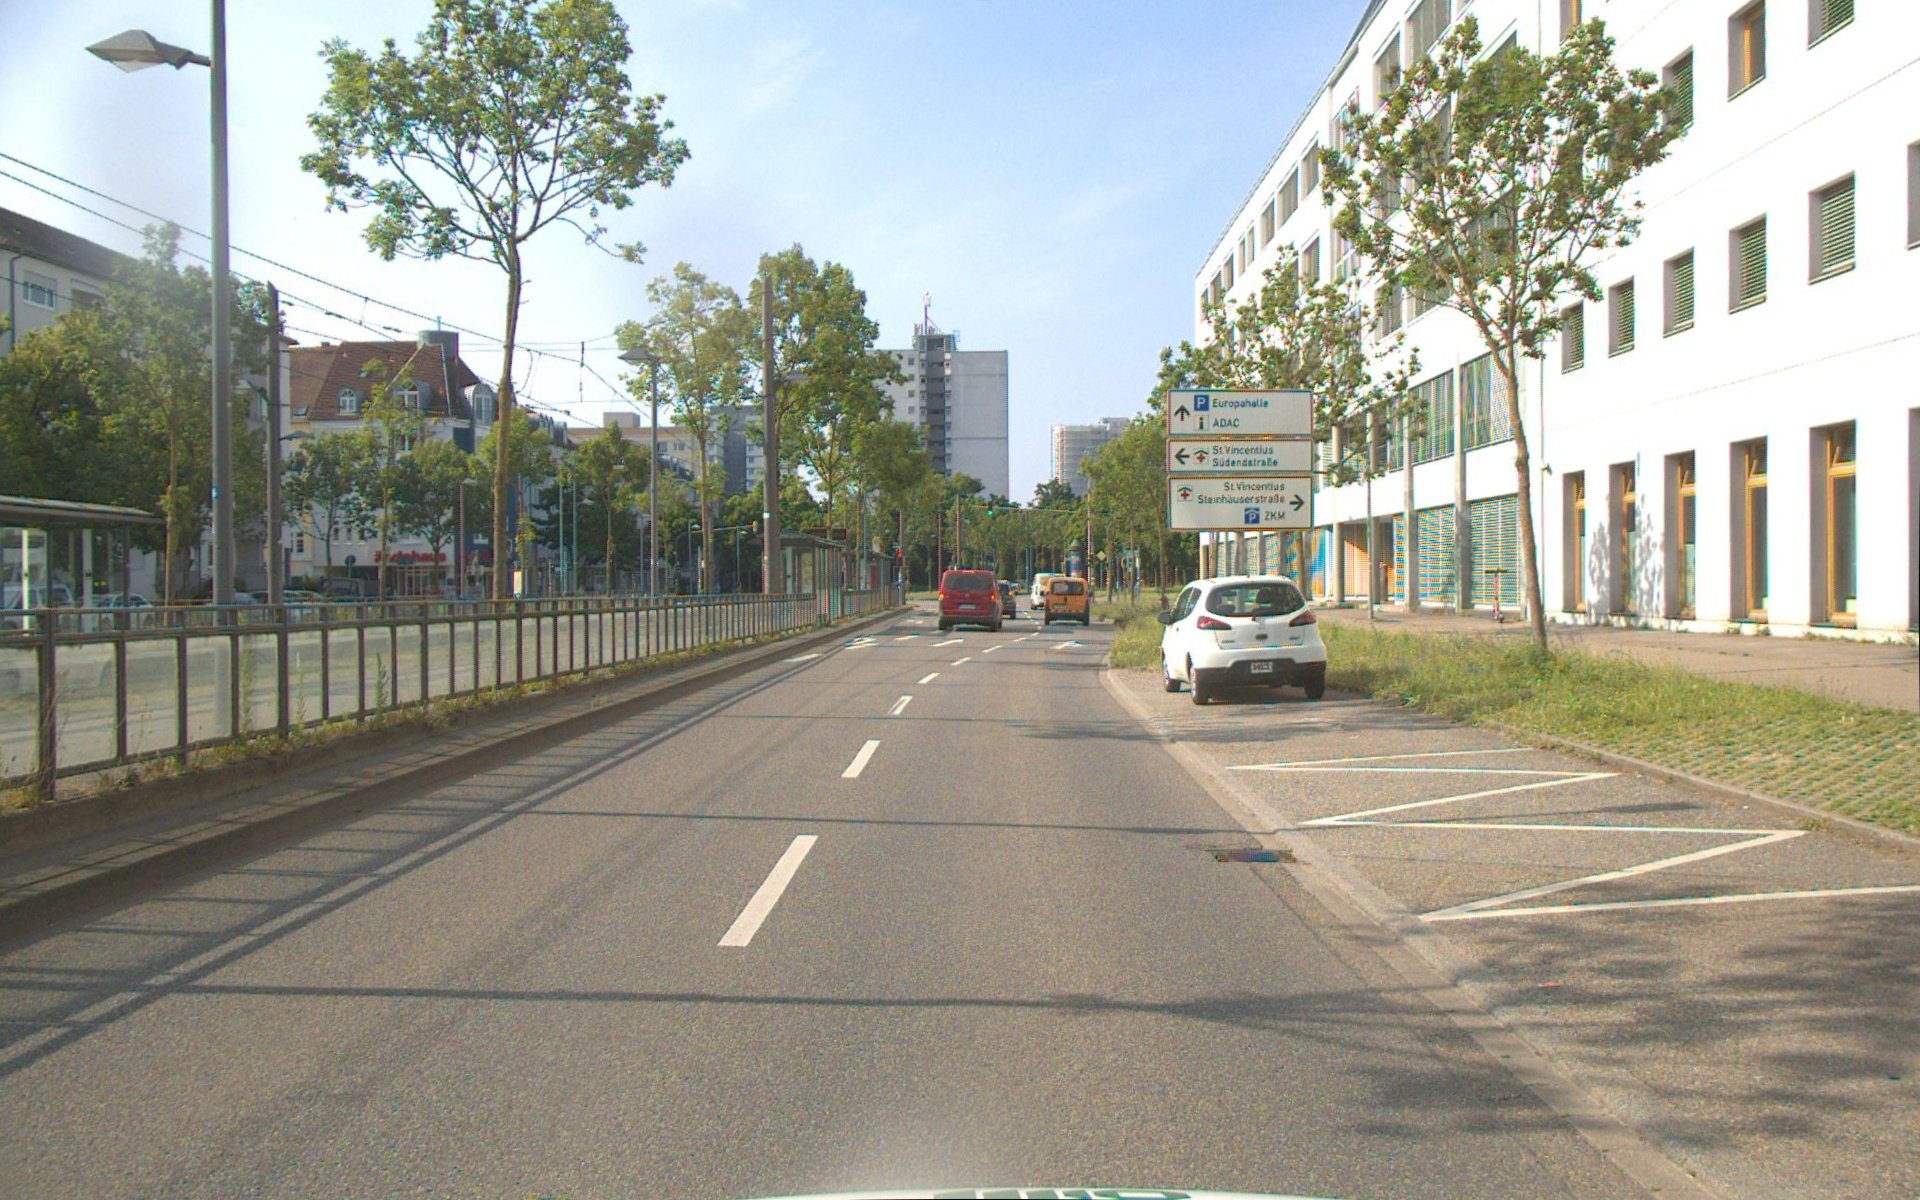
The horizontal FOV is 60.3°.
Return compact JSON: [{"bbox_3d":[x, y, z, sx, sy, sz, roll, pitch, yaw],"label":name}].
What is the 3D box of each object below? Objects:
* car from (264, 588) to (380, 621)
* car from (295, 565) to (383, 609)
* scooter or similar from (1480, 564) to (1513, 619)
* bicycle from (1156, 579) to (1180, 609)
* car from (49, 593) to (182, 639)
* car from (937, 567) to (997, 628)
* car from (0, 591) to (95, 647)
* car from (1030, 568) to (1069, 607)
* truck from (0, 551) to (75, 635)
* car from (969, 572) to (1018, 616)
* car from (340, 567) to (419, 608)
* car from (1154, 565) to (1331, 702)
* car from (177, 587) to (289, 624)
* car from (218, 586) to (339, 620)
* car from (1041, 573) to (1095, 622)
[{"bbox_3d":[-25.304,0.184,65.630,3.902,1.266,1.941,0,1,16],"label":"car"},{"bbox_3d":[-30.815,-0.629,82.260,2.317,2.066,5.311,1,0,0],"label":"car"},{"bbox_3d":[12.305,-0.210,37.942,0.452,1.234,1.255,-2,1,7],"label":"scooter or similar"},{"bbox_3d":[7.143,-0.215,56.898,0.605,1.035,1.880,0,1,0],"label":"bicycle"},{"bbox_3d":[-27.690,0.490,54.397,1.940,1.403,4.684,1,0,0],"label":"car"},{"bbox_3d":[0.214,-0.101,52.883,1.836,1.885,4.000,0,1,0],"label":"car"},{"bbox_3d":[-27.683,0.534,48.857,1.940,1.540,4.281,1,0,0],"label":"car"},{"bbox_3d":[4.904,-0.684,90.911,1.952,2.049,4.001,-1,0,1],"label":"car"},{"bbox_3d":[-31.215,-0.245,52.498,2.317,2.607,7.241,1,0,0],"label":"truck"},{"bbox_3d":[1.407,-0.269,70.072,1.952,1.735,4.001,-1,0,1],"label":"car"},{"bbox_3d":[-30.875,-0.676,88.133,2.317,2.066,5.311,1,0,0],"label":"car"},{"bbox_3d":[3.601,0.384,21.681,1.654,1.552,3.851,-3,0,1],"label":"car"},{"bbox_3d":[-26.220,0.190,59.625,3.914,1.266,1.828,0,1,32],"label":"car"},{"bbox_3d":[-25.987,0.097,63.079,3.902,1.266,1.941,0,1,16],"label":"car"},{"bbox_3d":[3.974,-0.113,61.369,1.837,1.726,3.974,0,1,2],"label":"car"}]
